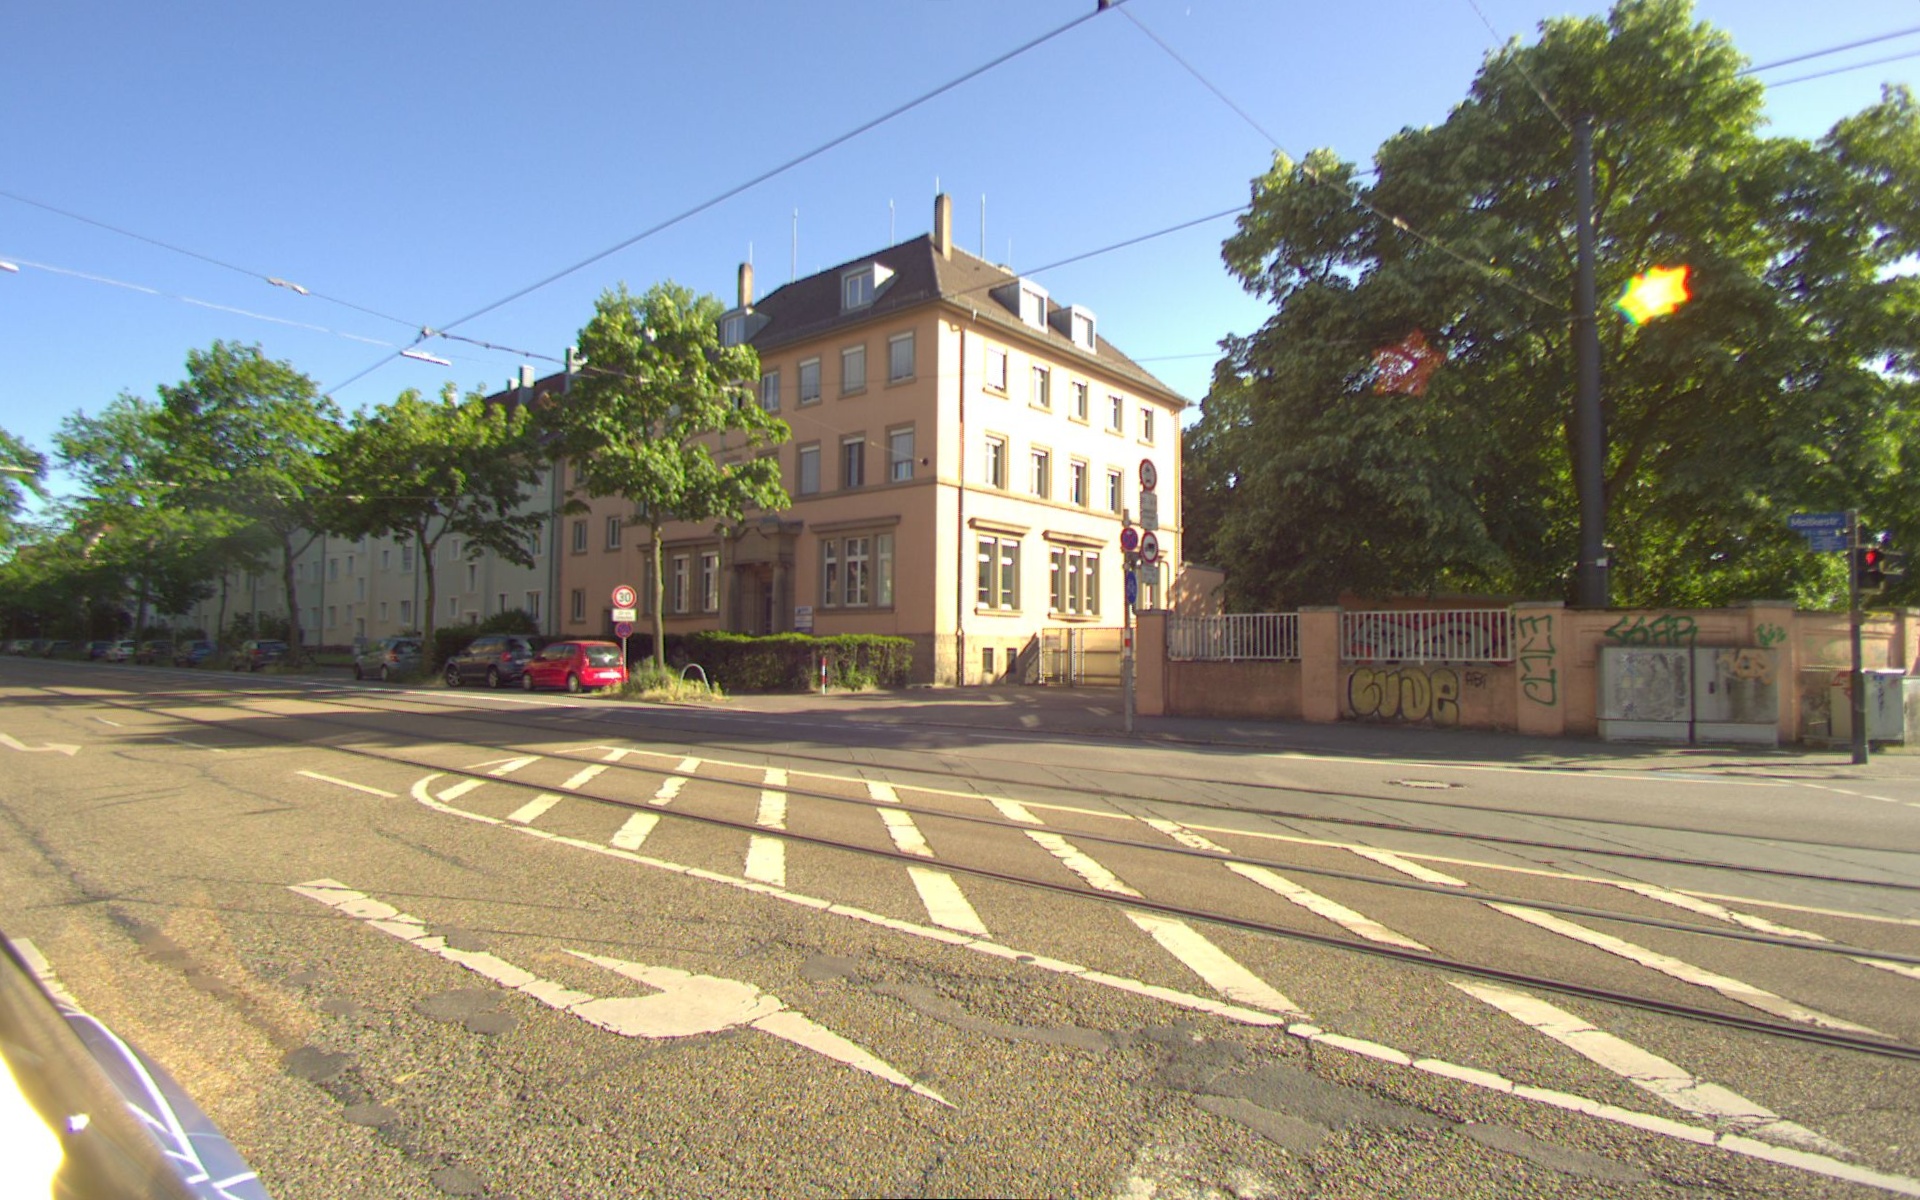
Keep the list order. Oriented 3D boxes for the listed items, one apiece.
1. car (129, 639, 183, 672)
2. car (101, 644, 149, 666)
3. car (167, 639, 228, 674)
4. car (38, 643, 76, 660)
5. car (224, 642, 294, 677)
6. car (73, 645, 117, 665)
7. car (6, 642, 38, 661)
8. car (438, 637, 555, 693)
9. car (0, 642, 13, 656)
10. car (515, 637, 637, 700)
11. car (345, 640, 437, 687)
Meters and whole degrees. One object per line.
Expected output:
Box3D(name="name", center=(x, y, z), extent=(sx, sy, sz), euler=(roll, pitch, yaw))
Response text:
Box3D(name="car", center=(-49.567, 3.396, 62.403), extent=(3.626, 1.956, 1.793), euler=(-2, -4, 39))
Box3D(name="car", center=(-56.584, 3.738, 68.579), extent=(3.626, 1.430, 1.793), euler=(-2, -4, 39))
Box3D(name="car", center=(-42.637, 3.149, 56.557), extent=(3.791, 1.839, 1.793), euler=(-2, -4, 39))
Box3D(name="car", center=(-76.121, 4.359, 85.337), extent=(3.626, 1.430, 1.793), euler=(-2, -4, 39))
Box3D(name="car", center=(-33.730, 2.847, 48.689), extent=(3.626, 1.611, 1.793), euler=(-2, -4, 39))
Box3D(name="car", center=(-63.473, 4.011, 74.240), extent=(3.626, 1.430, 1.793), euler=(-2, -4, 39))
Box3D(name="car", center=(-93.634, 5.134, 101.047), extent=(3.626, 1.792, 1.793), euler=(-2, -4, 39))
Box3D(name="car", center=(-14.818, 2.053, 32.299), extent=(3.813, 1.671, 1.794), euler=(-2, -4, 37))
Box3D(name="car", center=(-102.849, 5.209, 108.160), extent=(3.626, 1.535, 1.793), euler=(-2, -4, 39))
Box3D(name="car", center=(-11.189, 1.957, 29.462), extent=(3.369, 1.719, 1.794), euler=(-2, -4, 37))
Box3D(name="car", center=(-21.445, 2.374, 38.088), extent=(3.874, 1.671, 1.792), euler=(-2, -4, 41))
